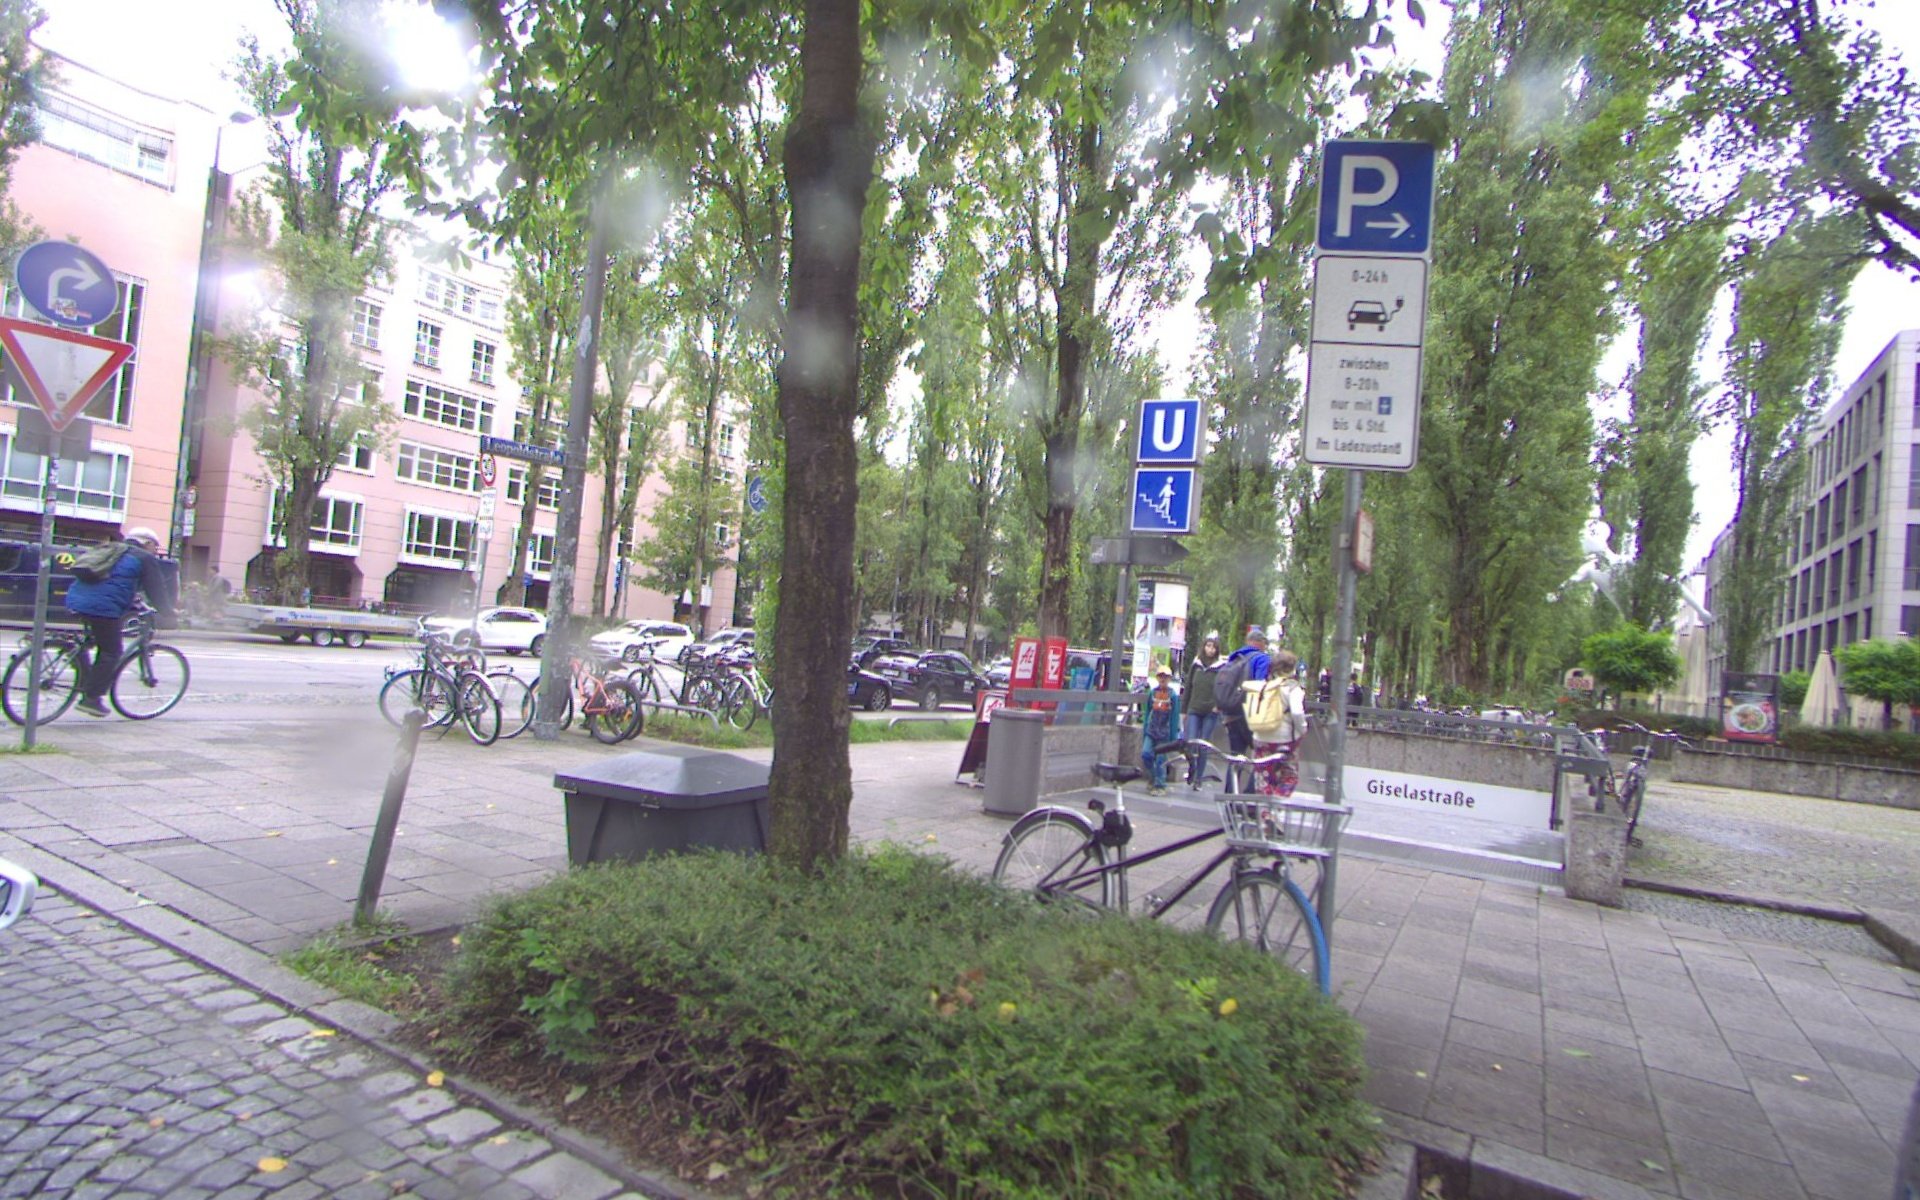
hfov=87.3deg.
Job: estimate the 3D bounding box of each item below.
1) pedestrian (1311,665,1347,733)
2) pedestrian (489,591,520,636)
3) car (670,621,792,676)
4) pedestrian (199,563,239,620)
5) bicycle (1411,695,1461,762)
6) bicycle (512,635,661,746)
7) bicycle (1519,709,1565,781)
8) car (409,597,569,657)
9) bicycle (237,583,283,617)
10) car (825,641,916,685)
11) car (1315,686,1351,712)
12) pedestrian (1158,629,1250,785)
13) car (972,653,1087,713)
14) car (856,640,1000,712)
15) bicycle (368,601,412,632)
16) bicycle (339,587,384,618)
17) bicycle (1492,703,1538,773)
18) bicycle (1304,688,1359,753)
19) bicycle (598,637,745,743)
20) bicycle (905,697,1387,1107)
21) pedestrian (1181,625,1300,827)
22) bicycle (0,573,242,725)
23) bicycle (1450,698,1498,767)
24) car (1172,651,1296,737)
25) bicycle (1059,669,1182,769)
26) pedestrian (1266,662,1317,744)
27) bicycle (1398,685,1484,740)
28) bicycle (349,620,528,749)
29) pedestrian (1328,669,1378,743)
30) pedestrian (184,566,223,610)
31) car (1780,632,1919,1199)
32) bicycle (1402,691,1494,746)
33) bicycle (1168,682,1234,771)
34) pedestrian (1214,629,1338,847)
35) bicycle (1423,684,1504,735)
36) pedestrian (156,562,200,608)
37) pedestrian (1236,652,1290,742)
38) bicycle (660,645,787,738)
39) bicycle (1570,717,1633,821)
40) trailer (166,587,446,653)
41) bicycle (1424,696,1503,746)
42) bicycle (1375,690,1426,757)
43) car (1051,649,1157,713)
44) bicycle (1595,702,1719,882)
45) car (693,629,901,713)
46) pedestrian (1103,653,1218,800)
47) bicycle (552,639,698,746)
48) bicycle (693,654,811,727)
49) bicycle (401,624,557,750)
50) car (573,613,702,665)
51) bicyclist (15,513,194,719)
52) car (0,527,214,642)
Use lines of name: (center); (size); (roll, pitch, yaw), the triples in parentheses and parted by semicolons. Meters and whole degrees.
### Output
pedestrian: (10.630, 2.835, 28.951); (0.689, 1.862, 0.705); (4, -2, 34)
pedestrian: (-18.561, 0.564, 40.985); (0.698, 1.733, 0.730); (4, -2, 32)
car: (-7.651, 1.660, 33.862); (1.819, 1.544, 3.746); (3, -4, 32)
pedestrian: (-24.143, -0.276, 32.783); (0.698, 1.733, 0.730); (4, -2, 32)
bicycle: (9.159, 2.454, 19.333); (0.578, 1.173, 1.866); (4, -3, 32)
bicycle: (-4.175, 0.981, 11.188); (1.847, 1.062, 0.475); (2, -3, 33)
bicycle: (10.532, 2.593, 18.172); (0.578, 1.173, 1.866); (4, -3, 32)
car: (-14.816, 0.894, 31.871); (1.778, 1.559, 4.225); (2, -3, 33)
bicycle: (-26.848, -0.013, 38.594); (1.957, 1.137, 0.675); (4, -2, 33)
car: (-4.394, 3.167, 50.031); (1.967, 1.818, 4.755); (4, -3, 31)
car: (26.761, 7.086, 72.080); (1.719, 1.564, 3.947); (6, -2, 30)
pedestrian: (2.857, 1.246, 11.768); (0.686, 1.720, 0.656); (6, -2, -43)
car: (2.230, 2.609, 31.226); (1.719, 1.544, 4.229); (6, -2, 31)
car: (-0.755, 2.007, 26.149); (1.720, 1.544, 3.901); (6, -2, 32)
bicycle: (-24.119, 0.675, 42.545); (1.957, 1.137, 0.675); (4, -2, 33)
bicycle: (-24.807, 0.100, 41.677); (2.073, 1.137, 0.675); (4, -2, 33)
bicycle: (10.282, 2.524, 18.620); (0.578, 1.173, 1.866); (4, -3, 32)
bicycle: (7.403, 2.381, 19.989); (0.578, 1.173, 1.866); (4, -3, 32)
bicycle: (-3.598, 1.093, 12.475); (1.899, 1.118, 0.512); (3, -2, 31)
bicycle: (0.660, 1.070, 4.083); (1.850, 1.150, 0.474); (3, -2, 40)
pedestrian: (2.583, 1.136, 9.239); (0.655, 1.716, 0.802); (4, -2, 41)
bicycle: (-7.423, 0.470, 8.854); (0.705, 1.159, 1.905); (3, -5, 2)
bicycle: (9.719, 2.482, 18.987); (0.578, 1.173, 1.866); (4, -3, 32)
car: (7.444, 2.520, 26.944); (1.784, 1.918, 5.196); (5, -3, 31)
bicycle: (2.143, 1.566, 13.207); (0.580, 1.173, 1.860); (4, -3, 43)
pedestrian: (7.030, 2.179, 21.317); (0.688, 1.625, 0.831); (4, -2, 36)
bicycle: (12.177, 2.834, 25.481); (1.840, 1.173, 0.586); (4, -2, 34)
bicycle: (-5.113, 0.802, 9.822); (1.844, 1.063, 0.475); (4, -2, 26)
pedestrian: (10.633, 2.869, 27.207); (0.905, 1.888, 1.011); (4, -2, 36)
pedestrian: (-25.509, -0.390, 33.923); (0.698, 1.385, 0.730); (4, -2, 32)
car: (3.513, 1.023, 0.766); (4.131, 1.719, 1.925); (4, -3, 30)
bicycle: (12.582, 3.040, 25.951); (2.000, 1.173, 0.586); (4, -2, 34)
bicycle: (3.617, 1.848, 14.964); (0.577, 1.173, 1.870); (4, -3, 23)
pedestrian: (2.688, 1.145, 8.531); (0.602, 1.700, 0.842); (4, -2, 41)
bicycle: (13.694, 2.972, 27.371); (1.840, 1.173, 0.586); (4, -2, 34)
pedestrian: (-25.769, -0.486, 33.160); (0.718, 1.385, 0.710); (5, -2, 3)
pedestrian: (6.535, 2.086, 21.694); (0.739, 1.824, 0.840); (4, -2, 36)
bicycle: (-3.131, 1.185, 13.245); (1.806, 1.050, 0.512); (3, -3, 37)
bicycle: (8.269, 2.132, 12.993); (0.578, 1.173, 1.866); (4, -3, 32)
trailer: (-17.782, 0.610, 27.763); (2.366, 1.213, 6.028); (4, -3, 32)
bicycle: (13.952, 3.342, 27.897); (1.840, 1.173, 0.586); (4, -2, 34)
bicycle: (8.627, 2.399, 19.655); (0.578, 1.173, 1.866); (4, -3, 32)
car: (5.272, 2.951, 36.240); (1.885, 1.946, 5.034); (6, -2, 30)
bicycle: (5.942, 1.573, 8.667); (0.710, 1.291, 1.866); (4, -3, 32)
car: (-3.389, 1.594, 21.756); (1.729, 1.444, 4.437); (5, -2, 35)
pedestrian: (2.147, 1.331, 10.766); (0.766, 1.436, 0.809); (6, -2, -43)
bicycle: (-3.878, 1.038, 11.574); (1.847, 1.062, 0.475); (2, -3, 33)
bicycle: (-2.901, 1.239, 13.938); (1.806, 0.827, 0.470); (3, -3, 37)
bicycle: (-4.963, 0.866, 10.330); (1.846, 1.063, 0.475); (4, -2, 33)
car: (-11.886, 1.473, 37.371); (1.966, 1.559, 4.321); (4, -3, 28)
bicyclist: (-7.339, 0.147, 8.670); (0.710, 1.638, 0.757); (5, -1, 3)
car: (-20.644, -0.391, 22.829); (1.991, 2.222, 5.488); (4, -3, 32)
